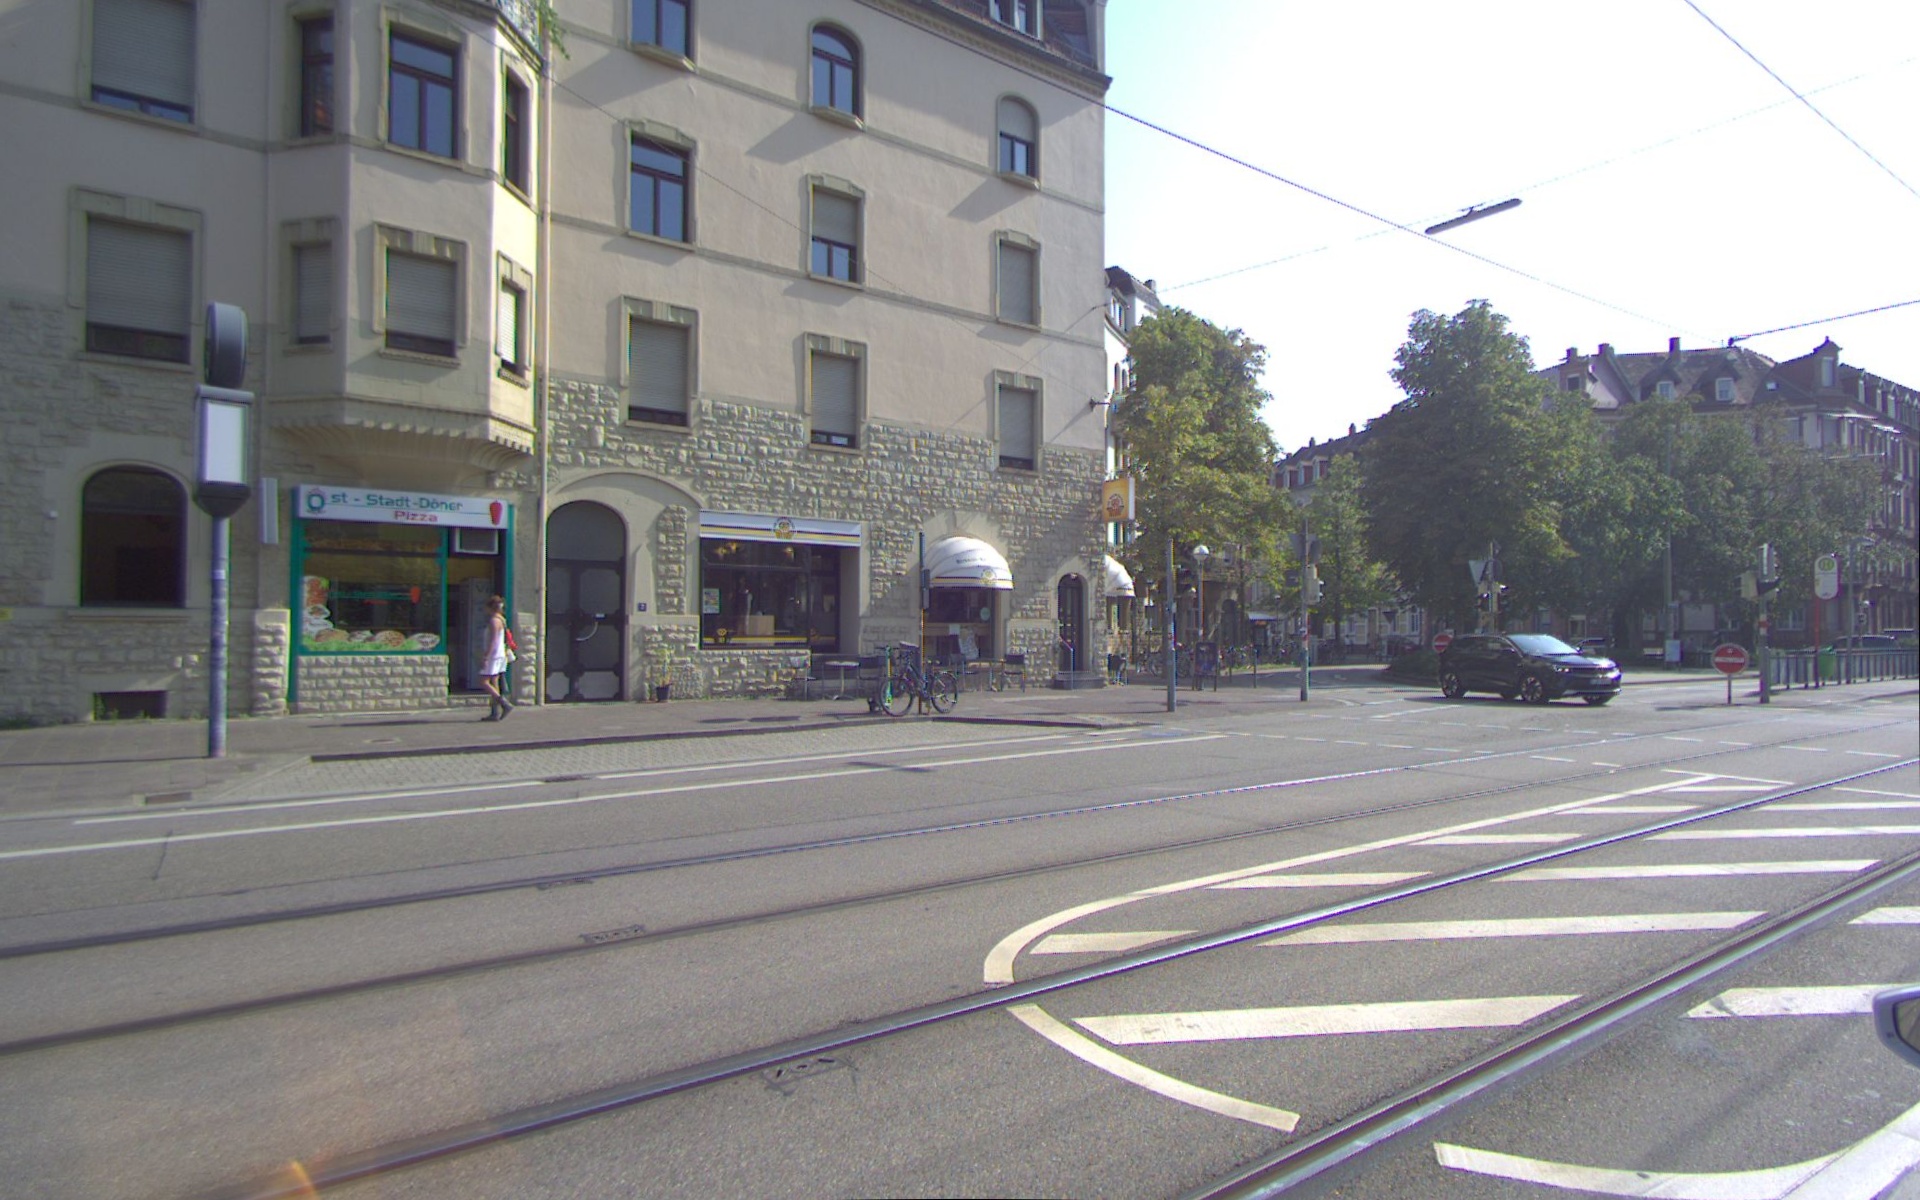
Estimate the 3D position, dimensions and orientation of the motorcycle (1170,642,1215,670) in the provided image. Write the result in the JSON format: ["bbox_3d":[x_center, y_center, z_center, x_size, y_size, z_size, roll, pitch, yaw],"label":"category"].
[{"bbox_3d":[10.080,2.435,43.505,1.838,1.169,0.607,0,-2,22],"label":"motorcycle"}]

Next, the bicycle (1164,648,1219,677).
[{"bbox_3d":[8.256,2.226,35.846,1.841,1.017,0.570,1,-2,2],"label":"bicycle"}]

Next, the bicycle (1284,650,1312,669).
[{"bbox_3d":[17.765,3.113,52.796,1.753,0.990,0.422,1,-2,-36],"label":"bicycle"}]

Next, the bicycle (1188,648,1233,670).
[{"bbox_3d":[11.335,2.663,45.503,1.875,0.947,0.738,0,-2,22],"label":"bicycle"}]

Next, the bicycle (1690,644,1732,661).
[{"bbox_3d":[42.779,2.990,57.225,1.821,0.970,0.548,-1,-2,25],"label":"bicycle"}]

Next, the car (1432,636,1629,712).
[{"bbox_3d":[12.919,1.609,23.073,1.583,1.535,4.221,0,-2,-10],"label":"car"}]

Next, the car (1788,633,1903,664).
[{"bbox_3d":[48.283,2.633,54.863,4.251,1.590,2.000,0,-2,19],"label":"car"}]

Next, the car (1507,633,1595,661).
[{"bbox_3d":[34.892,2.734,59.361,4.268,1.590,1.992,-1,-3,38],"label":"car"}]

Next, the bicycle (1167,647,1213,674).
[{"bbox_3d":[9.138,2.395,39.892,1.768,0.996,0.661,0,-2,15],"label":"bicycle"}]

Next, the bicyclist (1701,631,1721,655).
[{"bbox_3d":[42.784,2.467,57.237,0.806,1.345,0.548,-1,-2,25],"label":"bicyclist"}]

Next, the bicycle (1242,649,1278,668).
[{"bbox_3d":[15.904,3.095,53.275,1.740,0.990,0.518,-1,-2,34],"label":"bicycle"}]

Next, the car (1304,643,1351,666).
[{"bbox_3d":[31.317,4.635,85.736,1.965,1.852,3.991,1,-2,-13],"label":"car"}]

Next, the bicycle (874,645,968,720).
[{"bbox_3d":[-0.666,1.417,17.669,1.845,1.242,0.448,2,-3,-45],"label":"bicycle"}]

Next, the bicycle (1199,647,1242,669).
[{"bbox_3d":[12.133,2.690,46.813,1.864,0.993,0.686,0,-2,22],"label":"bicycle"}]

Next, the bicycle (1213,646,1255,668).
[{"bbox_3d":[13.041,2.730,47.885,1.864,0.993,0.686,0,-2,22],"label":"bicycle"}]

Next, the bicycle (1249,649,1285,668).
[{"bbox_3d":[16.459,3.112,53.830,1.740,0.990,0.604,-1,-2,33],"label":"bicycle"}]

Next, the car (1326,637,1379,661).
[{"bbox_3d":[30.356,3.764,77.840,1.965,1.852,3.991,1,-2,-13],"label":"car"}]

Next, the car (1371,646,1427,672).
[{"bbox_3d":[33.363,4.458,76.473,1.965,1.852,3.991,1,-2,-13],"label":"car"}]

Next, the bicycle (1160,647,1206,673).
[{"bbox_3d":[9.081,2.435,40.905,1.768,0.989,0.661,0,-2,15],"label":"bicycle"}]

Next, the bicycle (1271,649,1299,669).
[{"bbox_3d":[17.088,3.101,52.767,1.753,0.990,0.422,1,-2,-36],"label":"bicycle"}]

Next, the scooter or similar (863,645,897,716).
[{"bbox_3d":[-1.418,1.413,17.839,0.359,1.213,1.035,0,-2,9],"label":"scooter or similar"}]

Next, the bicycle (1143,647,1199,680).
[{"bbox_3d":[7.342,2.219,34.999,1.846,1.127,0.568,1,-2,-14],"label":"bicycle"}]

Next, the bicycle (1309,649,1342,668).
[{"bbox_3d":[20.088,3.204,55.232,0.597,0.990,1.758,1,-2,-26],"label":"bicycle"}]

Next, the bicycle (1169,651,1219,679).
[{"bbox_3d":[8.011,2.216,34.385,1.578,0.932,0.479,1,-2,-4],"label":"bicycle"}]

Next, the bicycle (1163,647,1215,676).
[{"bbox_3d":[8.498,2.274,37.323,1.841,1.047,0.570,0,-2,17],"label":"bicycle"}]

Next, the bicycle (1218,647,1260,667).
[{"bbox_3d":[13.691,2.798,49.308,1.849,0.947,0.636,-1,-2,38],"label":"bicycle"}]

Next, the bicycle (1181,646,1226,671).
[{"bbox_3d":[10.759,2.568,44.362,1.842,1.041,0.664,0,-2,22],"label":"bicycle"}]

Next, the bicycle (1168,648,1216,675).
[{"bbox_3d":[8.935,2.376,38.695,1.768,0.997,0.570,0,-2,15],"label":"bicycle"}]

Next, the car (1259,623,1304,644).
[{"bbox_3d":[29.561,3.071,92.449,1.971,1.852,3.981,1,-2,-21],"label":"car"}]

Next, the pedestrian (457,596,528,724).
[{"bbox_3d":[-7.106,0.898,15.274,0.823,1.884,0.768,2,-2,-37],"label":"pedestrian"}]
